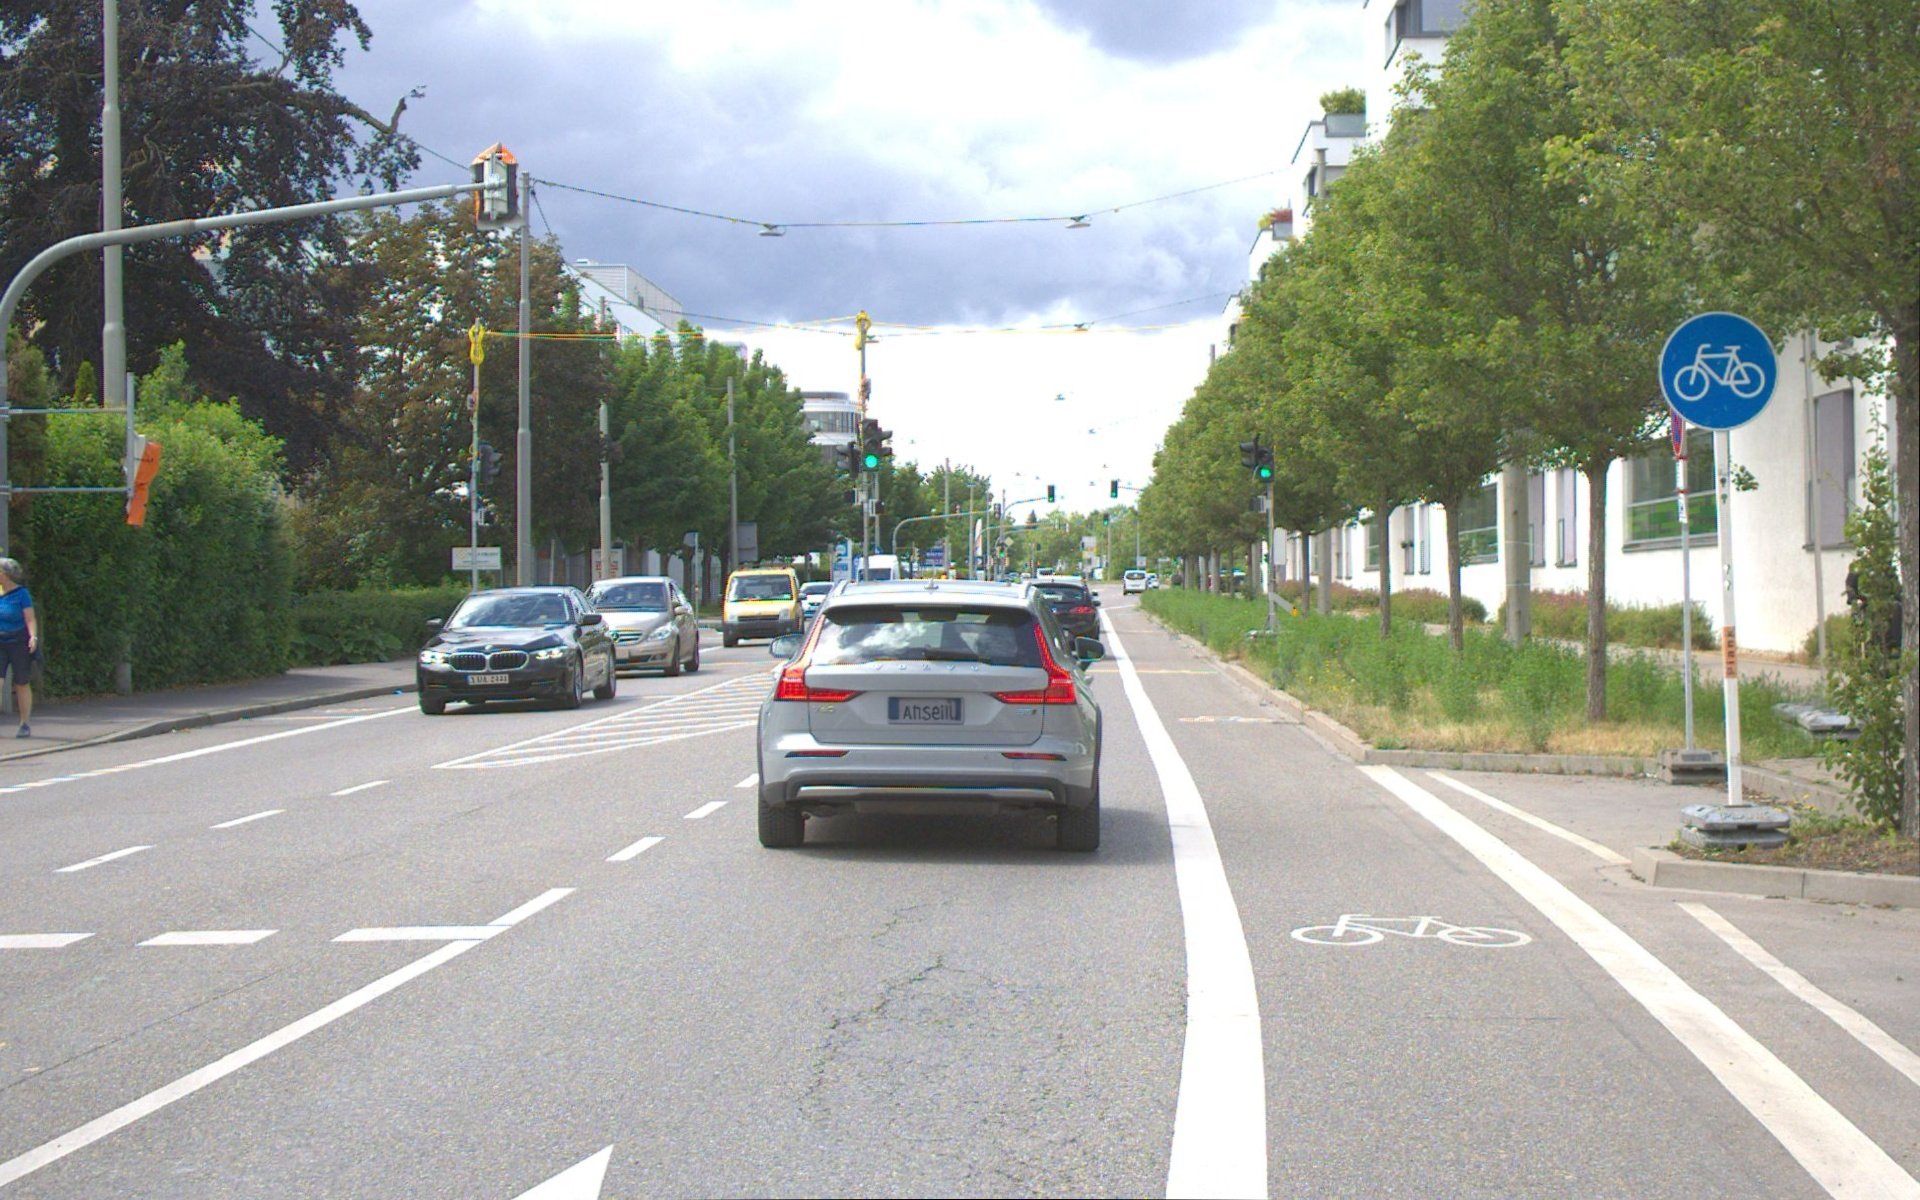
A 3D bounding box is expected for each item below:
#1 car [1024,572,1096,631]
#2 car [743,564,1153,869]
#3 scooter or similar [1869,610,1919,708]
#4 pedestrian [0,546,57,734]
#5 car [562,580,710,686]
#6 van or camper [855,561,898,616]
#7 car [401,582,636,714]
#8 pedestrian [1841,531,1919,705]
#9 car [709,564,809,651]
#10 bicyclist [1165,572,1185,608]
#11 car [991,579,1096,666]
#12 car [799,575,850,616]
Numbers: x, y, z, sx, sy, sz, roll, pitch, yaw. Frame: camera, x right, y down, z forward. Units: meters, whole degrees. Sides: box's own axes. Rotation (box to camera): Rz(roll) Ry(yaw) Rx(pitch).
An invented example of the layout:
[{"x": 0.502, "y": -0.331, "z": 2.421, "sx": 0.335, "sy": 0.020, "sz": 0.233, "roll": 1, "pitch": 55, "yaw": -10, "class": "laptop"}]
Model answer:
[{"x": 2.639, "y": 0.026, "z": 91.077, "sx": 1.845, "sy": 1.508, "sz": 4.000, "roll": 0, "pitch": 1, "yaw": 1, "class": "car"}, {"x": 0.042, "y": 0.579, "z": 19.701, "sx": 1.855, "sy": 1.508, "sz": 3.999, "roll": 2, "pitch": 1, "yaw": 6, "class": "car"}, {"x": 8.887, "y": 0.551, "z": 32.478, "sx": 0.421, "sy": 0.902, "sz": 0.682, "roll": -1, "pitch": 0, "yaw": 2, "class": "scooter or similar"}, {"x": -9.520, "y": 0.396, "z": 34.391, "sx": 0.681, "sy": 1.848, "sz": 0.892, "roll": -1, "pitch": 0, "yaw": 2, "class": "pedestrian"}, {"x": -5.127, "y": 0.493, "z": 54.828, "sx": 1.749, "sy": 1.550, "sz": 4.402, "roll": -2, "pitch": 1, "yaw": 2, "class": "car"}, {"x": -4.253, "y": -0.593, "z": 173.995, "sx": 1.993, "sy": 2.724, "sz": 6.053, "roll": -2, "pitch": 0, "yaw": -2, "class": "van or camper"}, {"x": -5.238, "y": 0.538, "z": 41.413, "sx": 1.994, "sy": 1.395, "sz": 4.811, "roll": -3, "pitch": 0, "yaw": 2, "class": "car"}, {"x": 8.875, "y": 0.168, "z": 33.115, "sx": 0.605, "sy": 1.649, "sz": 0.552, "roll": -1, "pitch": 0, "yaw": 2, "class": "pedestrian"}, {"x": -4.592, "y": 0.154, "z": 79.257, "sx": 1.841, "sy": 1.898, "sz": 4.685, "roll": -1, "pitch": 0, "yaw": 2, "class": "car"}, {"x": 12.177, "y": -0.570, "z": 194.987, "sx": 1.014, "sy": 2.007, "sz": 1.131, "roll": -2, "pitch": 0, "yaw": 1, "class": "bicyclist"}, {"x": 1.533, "y": 0.387, "z": 63.101, "sx": 1.854, "sy": 1.508, "sz": 4.000, "roll": 0, "pitch": 1, "yaw": 1, "class": "car"}, {"x": -5.204, "y": -0.184, "z": 132.627, "sx": 1.661, "sy": 1.510, "sz": 4.000, "roll": -1, "pitch": 1, "yaw": 2, "class": "car"}]
